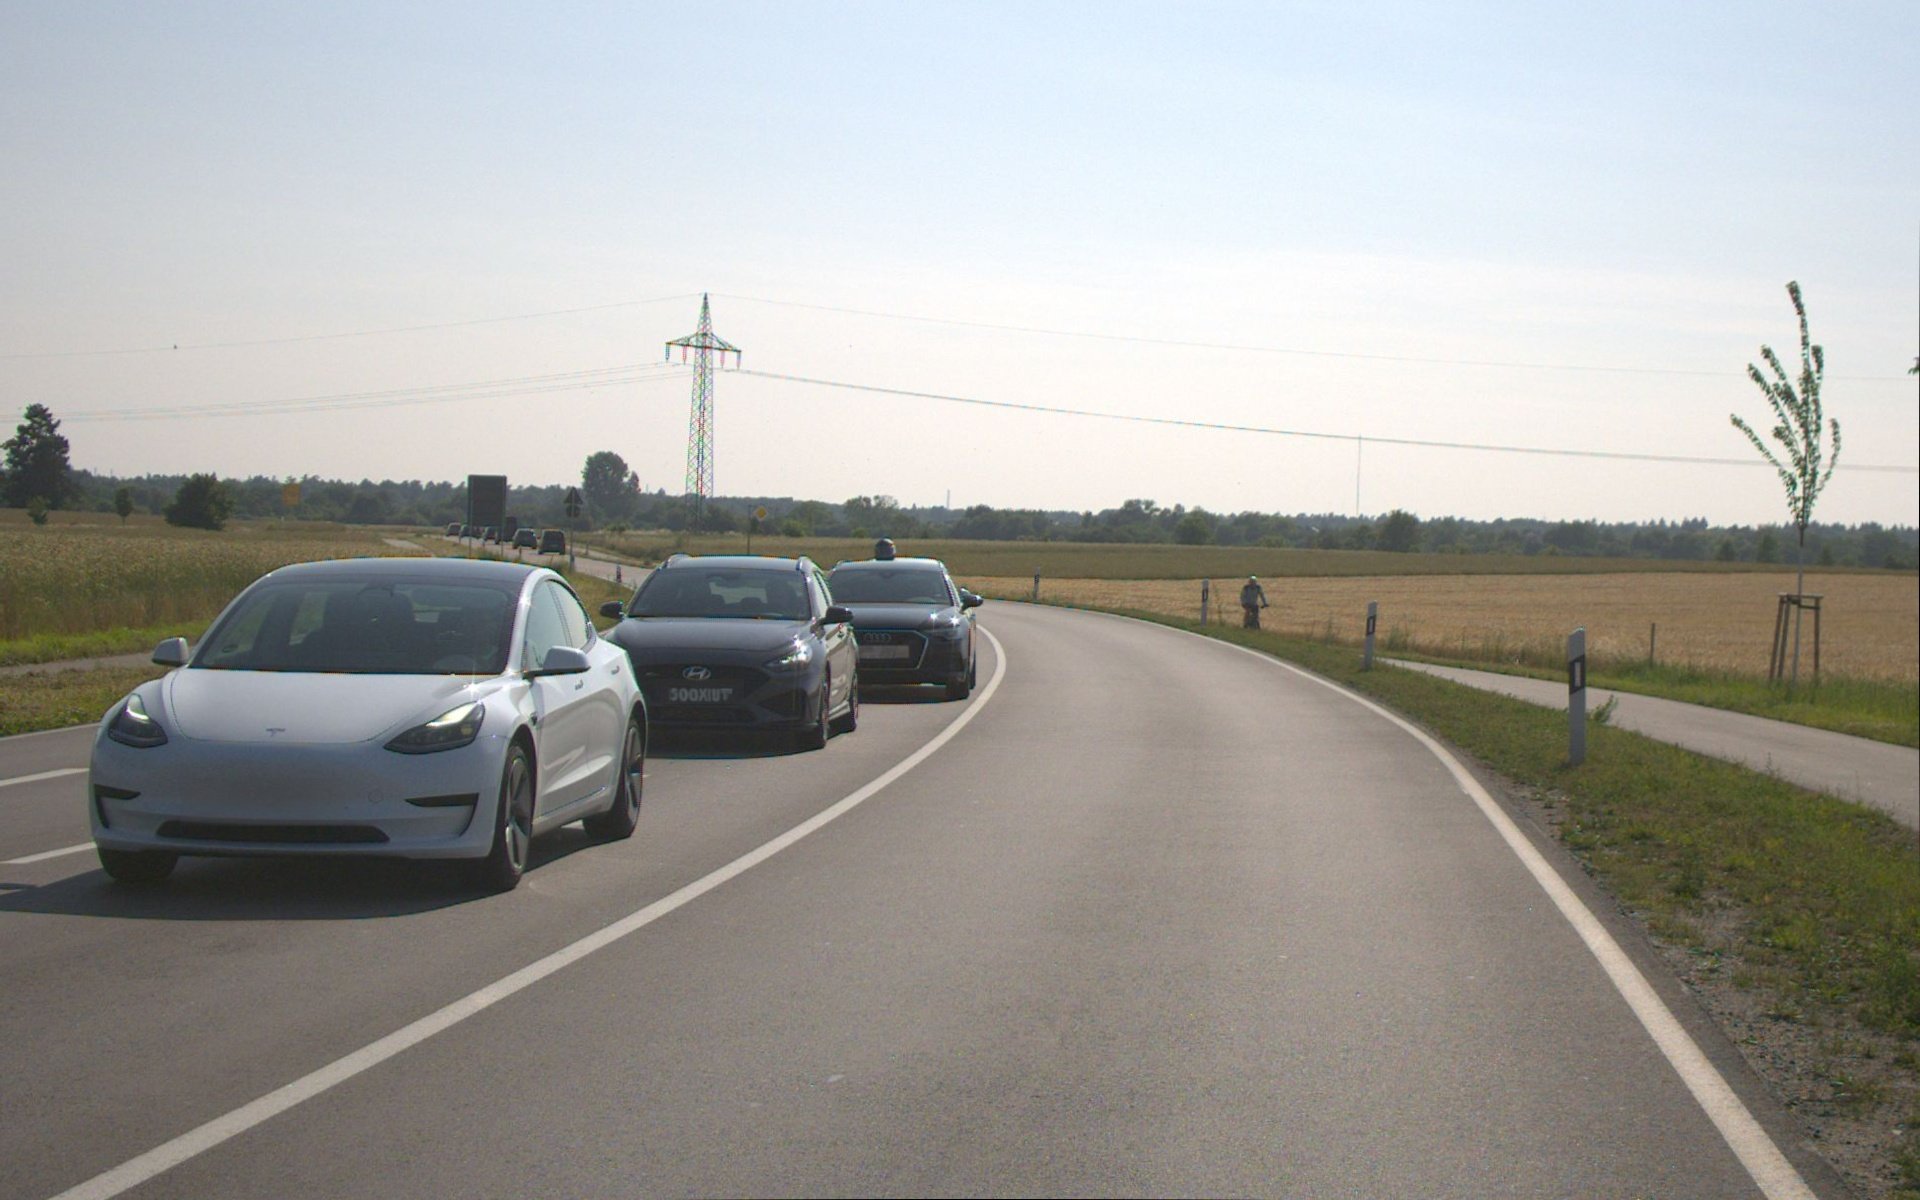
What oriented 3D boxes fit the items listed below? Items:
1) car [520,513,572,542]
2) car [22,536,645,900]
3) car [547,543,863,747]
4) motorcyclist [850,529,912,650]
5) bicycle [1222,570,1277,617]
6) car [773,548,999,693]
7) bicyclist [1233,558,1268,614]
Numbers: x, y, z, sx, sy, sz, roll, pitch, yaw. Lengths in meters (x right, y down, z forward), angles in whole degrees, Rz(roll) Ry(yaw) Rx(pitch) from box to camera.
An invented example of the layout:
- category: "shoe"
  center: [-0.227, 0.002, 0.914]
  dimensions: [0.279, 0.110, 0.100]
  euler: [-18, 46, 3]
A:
- category: "car"
  center: [-30.495, -5.340, 253.012]
  dimensions: [1.839, 1.827, 4.468]
  euler: [5, 1, -34]
- category: "car"
  center: [-2.791, 0.459, 16.334]
  dimensions: [1.890, 1.461, 4.275]
  euler: [1, 1, 4]
- category: "car"
  center: [-1.944, 0.307, 27.479]
  dimensions: [1.890, 1.456, 4.305]
  euler: [1, 1, 4]
- category: "motorcyclist"
  center: [-0.995, -0.140, 43.293]
  dimensions: [0.678, 1.490, 0.847]
  euler: [1, 1, 4]
- category: "bicycle"
  center: [7.644, -0.179, 90.947]
  dimensions: [0.845, 1.138, 2.207]
  euler: [4, 1, -10]
- category: "car"
  center: [-0.728, 0.179, 37.363]
  dimensions: [1.890, 1.431, 4.796]
  euler: [1, 1, 5]
- category: "bicyclist"
  center: [7.660, -0.372, 90.720]
  dimensions: [0.637, 1.452, 0.817]
  euler: [4, 0, -9]
